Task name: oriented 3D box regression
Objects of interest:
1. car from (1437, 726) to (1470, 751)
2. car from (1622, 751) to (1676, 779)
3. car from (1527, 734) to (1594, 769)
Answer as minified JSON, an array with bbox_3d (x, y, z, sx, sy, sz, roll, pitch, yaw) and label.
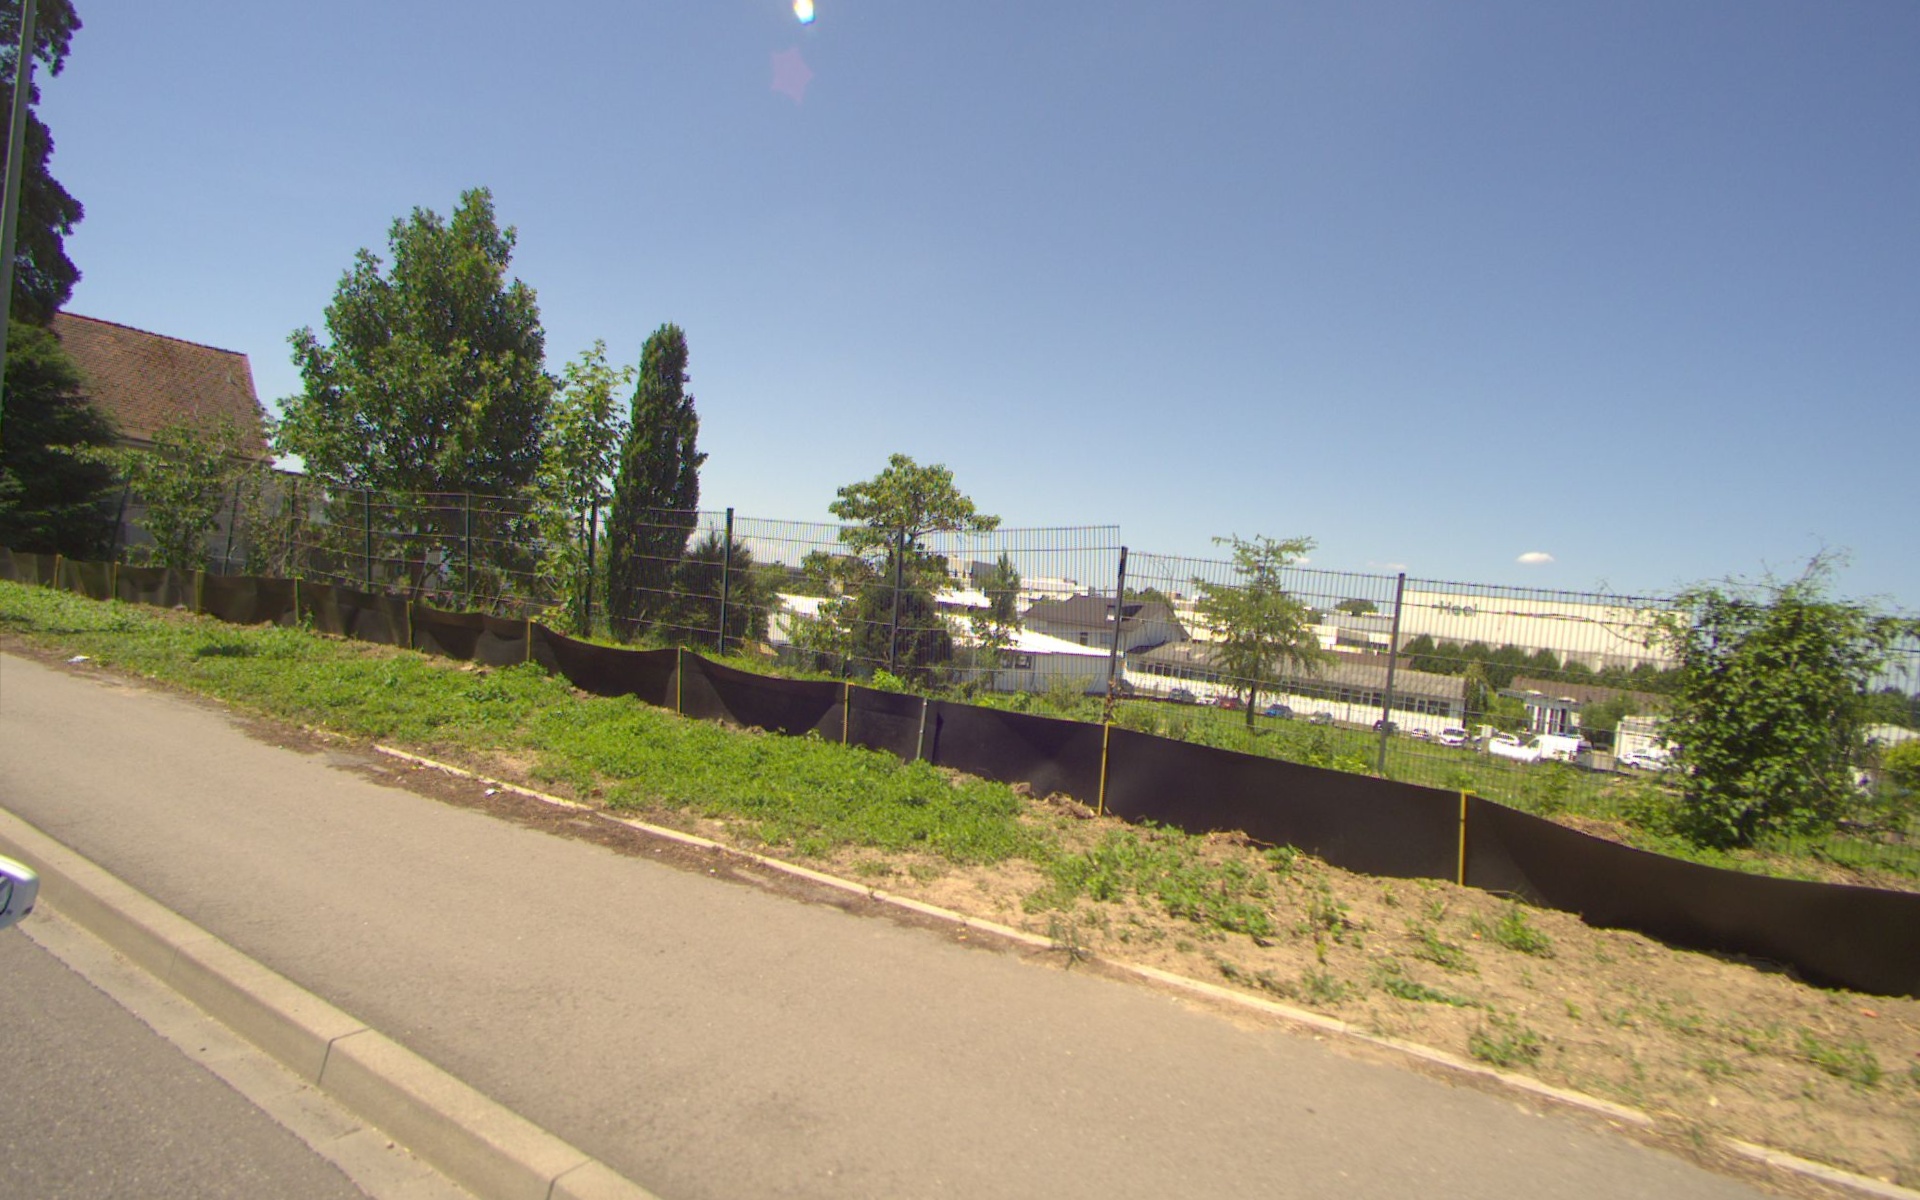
[{"bbox_3d":[43.274,12.122,88.105,1.968,1.759,3.993,7,-2,33],"label":"car"},{"bbox_3d":[61.825,14.793,90.330,3.785,1.639,1.934,7,-1,32],"label":"car"},{"bbox_3d":[49.977,12.600,83.826,1.850,2.037,4.319,8,-1,-23],"label":"car"}]
